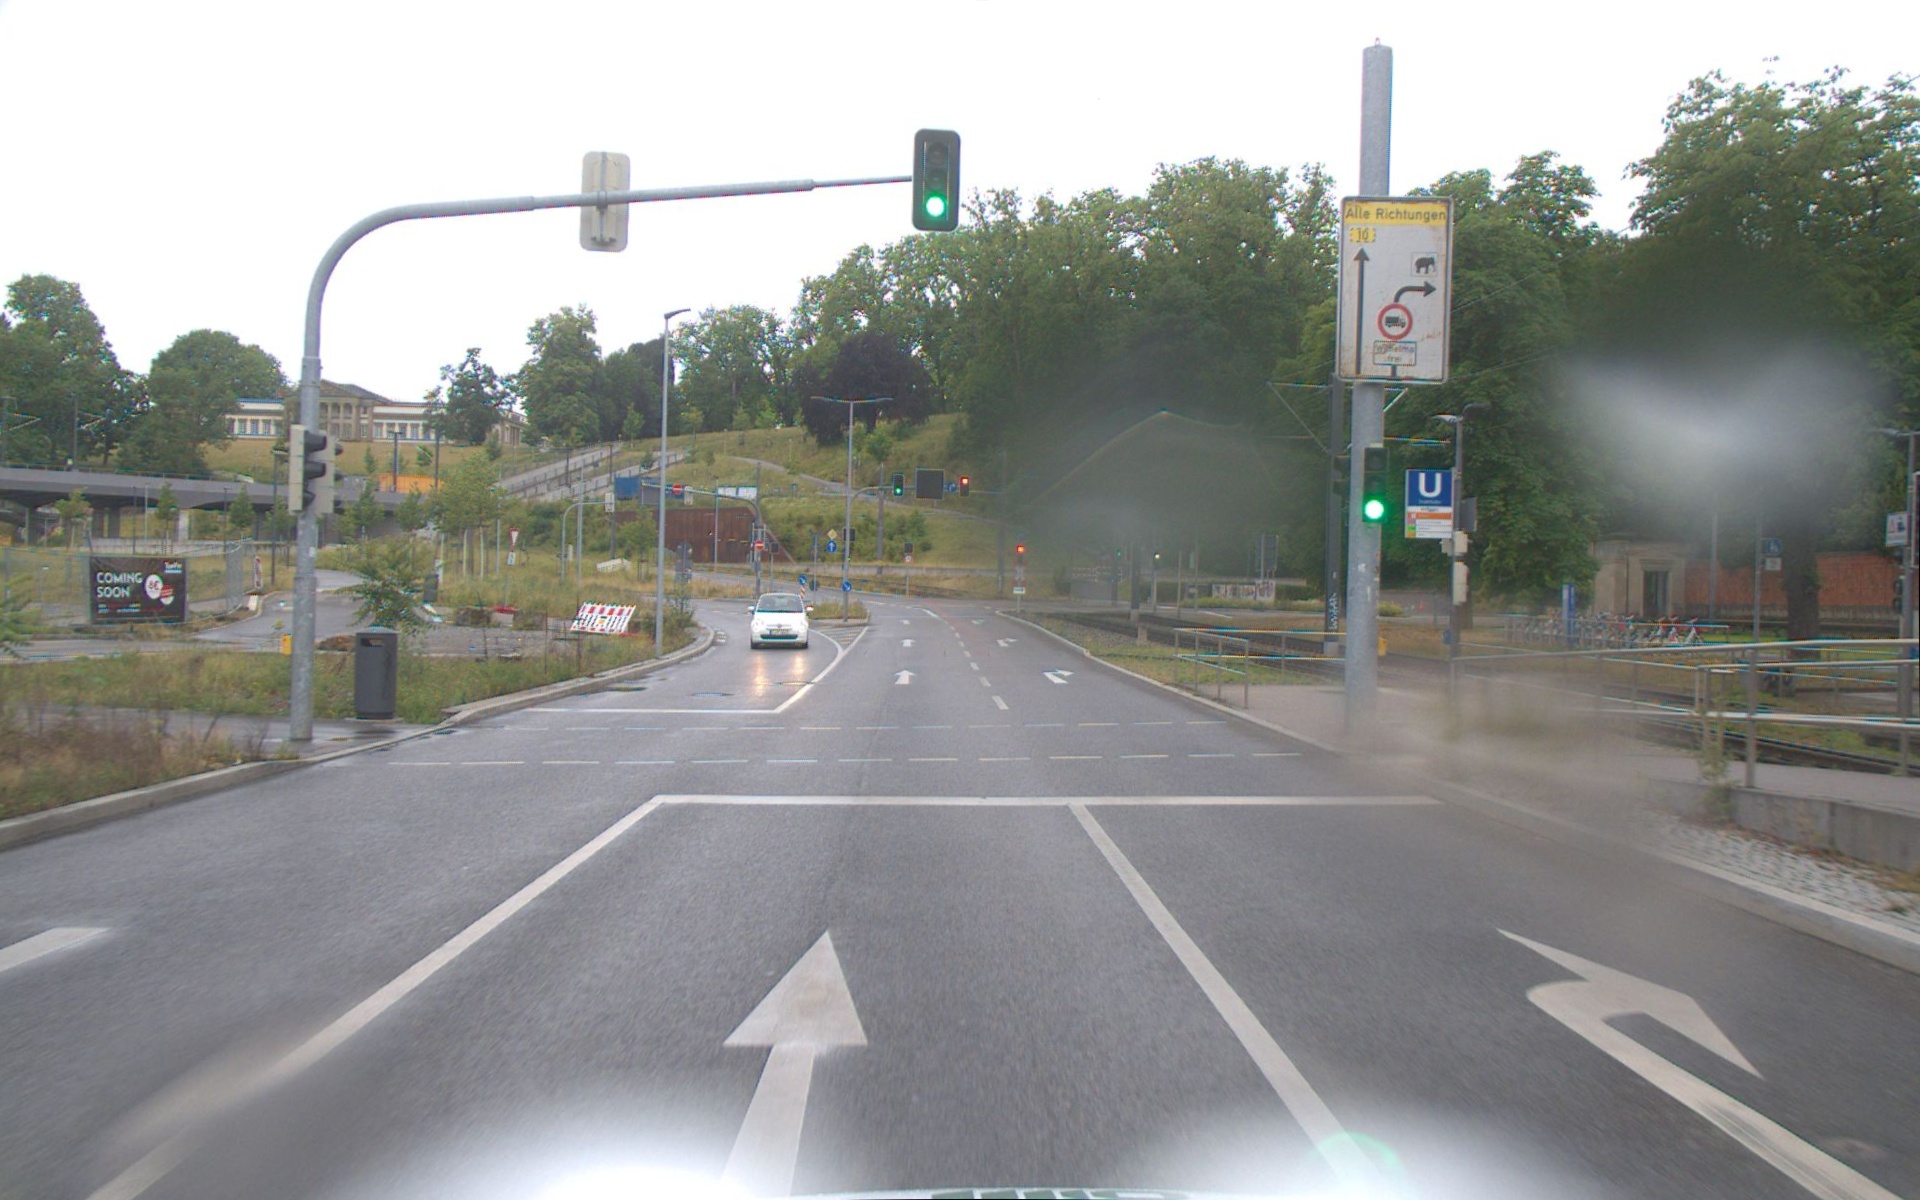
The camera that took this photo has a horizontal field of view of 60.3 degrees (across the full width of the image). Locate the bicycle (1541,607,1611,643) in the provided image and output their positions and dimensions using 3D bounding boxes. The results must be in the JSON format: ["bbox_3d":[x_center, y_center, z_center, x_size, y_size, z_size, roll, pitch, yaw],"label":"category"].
[{"bbox_3d":[18.112,0.734,48.637,1.798,1.050,0.652,0,1,-4],"label":"bicycle"}]

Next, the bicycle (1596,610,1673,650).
[{"bbox_3d":[18.297,0.808,44.885,1.810,1.050,0.652,0,1,-4],"label":"bicycle"}]

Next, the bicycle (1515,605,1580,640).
[{"bbox_3d":[18.148,0.683,51.093,1.774,1.050,0.652,0,1,-4],"label":"bicycle"}]

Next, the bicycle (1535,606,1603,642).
[{"bbox_3d":[18.161,0.717,49.328,1.774,1.050,0.652,0,1,-4],"label":"bicycle"}]

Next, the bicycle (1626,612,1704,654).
[{"bbox_3d":[18.435,0.853,43.250,1.774,1.050,0.652,0,1,-4],"label":"bicycle"}]

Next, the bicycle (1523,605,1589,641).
[{"bbox_3d":[18.073,0.695,50.171,1.774,1.050,0.652,0,1,-4],"label":"bicycle"}]

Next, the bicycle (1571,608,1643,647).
[{"bbox_3d":[18.157,0.772,46.428,1.774,1.052,0.652,0,1,-4],"label":"bicycle"}]

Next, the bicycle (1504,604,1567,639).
[{"bbox_3d":[18.078,0.666,51.973,1.774,1.050,0.652,0,1,-4],"label":"bicycle"}]

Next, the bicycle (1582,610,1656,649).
[{"bbox_3d":[18.165,0.804,45.617,1.774,1.050,0.652,0,1,-4],"label":"bicycle"}]

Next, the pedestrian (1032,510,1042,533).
[{"bbox_3d":[7.199,-7.337,155.133,0.776,2.047,0.654,-3,7,-17],"label":"pedestrian"}]

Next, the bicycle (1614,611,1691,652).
[{"bbox_3d":[18.440,0.827,44.063,1.774,1.050,0.652,0,1,-4],"label":"bicycle"}]

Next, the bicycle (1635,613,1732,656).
[{"bbox_3d":[18.484,0.879,42.273,2.178,1.050,0.689,0,1,-4],"label":"bicycle"}]

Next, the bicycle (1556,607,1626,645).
[{"bbox_3d":[18.293,0.748,47.933,1.774,1.050,0.652,0,1,-4],"label":"bicycle"}]

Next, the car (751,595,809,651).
[{"bbox_3d":[-5.066,0.627,46.929,1.556,1.517,3.710,0,0,-5],"label":"car"}]

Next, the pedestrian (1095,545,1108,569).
[{"bbox_3d":[11.398,-3.468,133.218,0.937,1.812,1.123,3,2,6],"label":"pedestrian"}]
